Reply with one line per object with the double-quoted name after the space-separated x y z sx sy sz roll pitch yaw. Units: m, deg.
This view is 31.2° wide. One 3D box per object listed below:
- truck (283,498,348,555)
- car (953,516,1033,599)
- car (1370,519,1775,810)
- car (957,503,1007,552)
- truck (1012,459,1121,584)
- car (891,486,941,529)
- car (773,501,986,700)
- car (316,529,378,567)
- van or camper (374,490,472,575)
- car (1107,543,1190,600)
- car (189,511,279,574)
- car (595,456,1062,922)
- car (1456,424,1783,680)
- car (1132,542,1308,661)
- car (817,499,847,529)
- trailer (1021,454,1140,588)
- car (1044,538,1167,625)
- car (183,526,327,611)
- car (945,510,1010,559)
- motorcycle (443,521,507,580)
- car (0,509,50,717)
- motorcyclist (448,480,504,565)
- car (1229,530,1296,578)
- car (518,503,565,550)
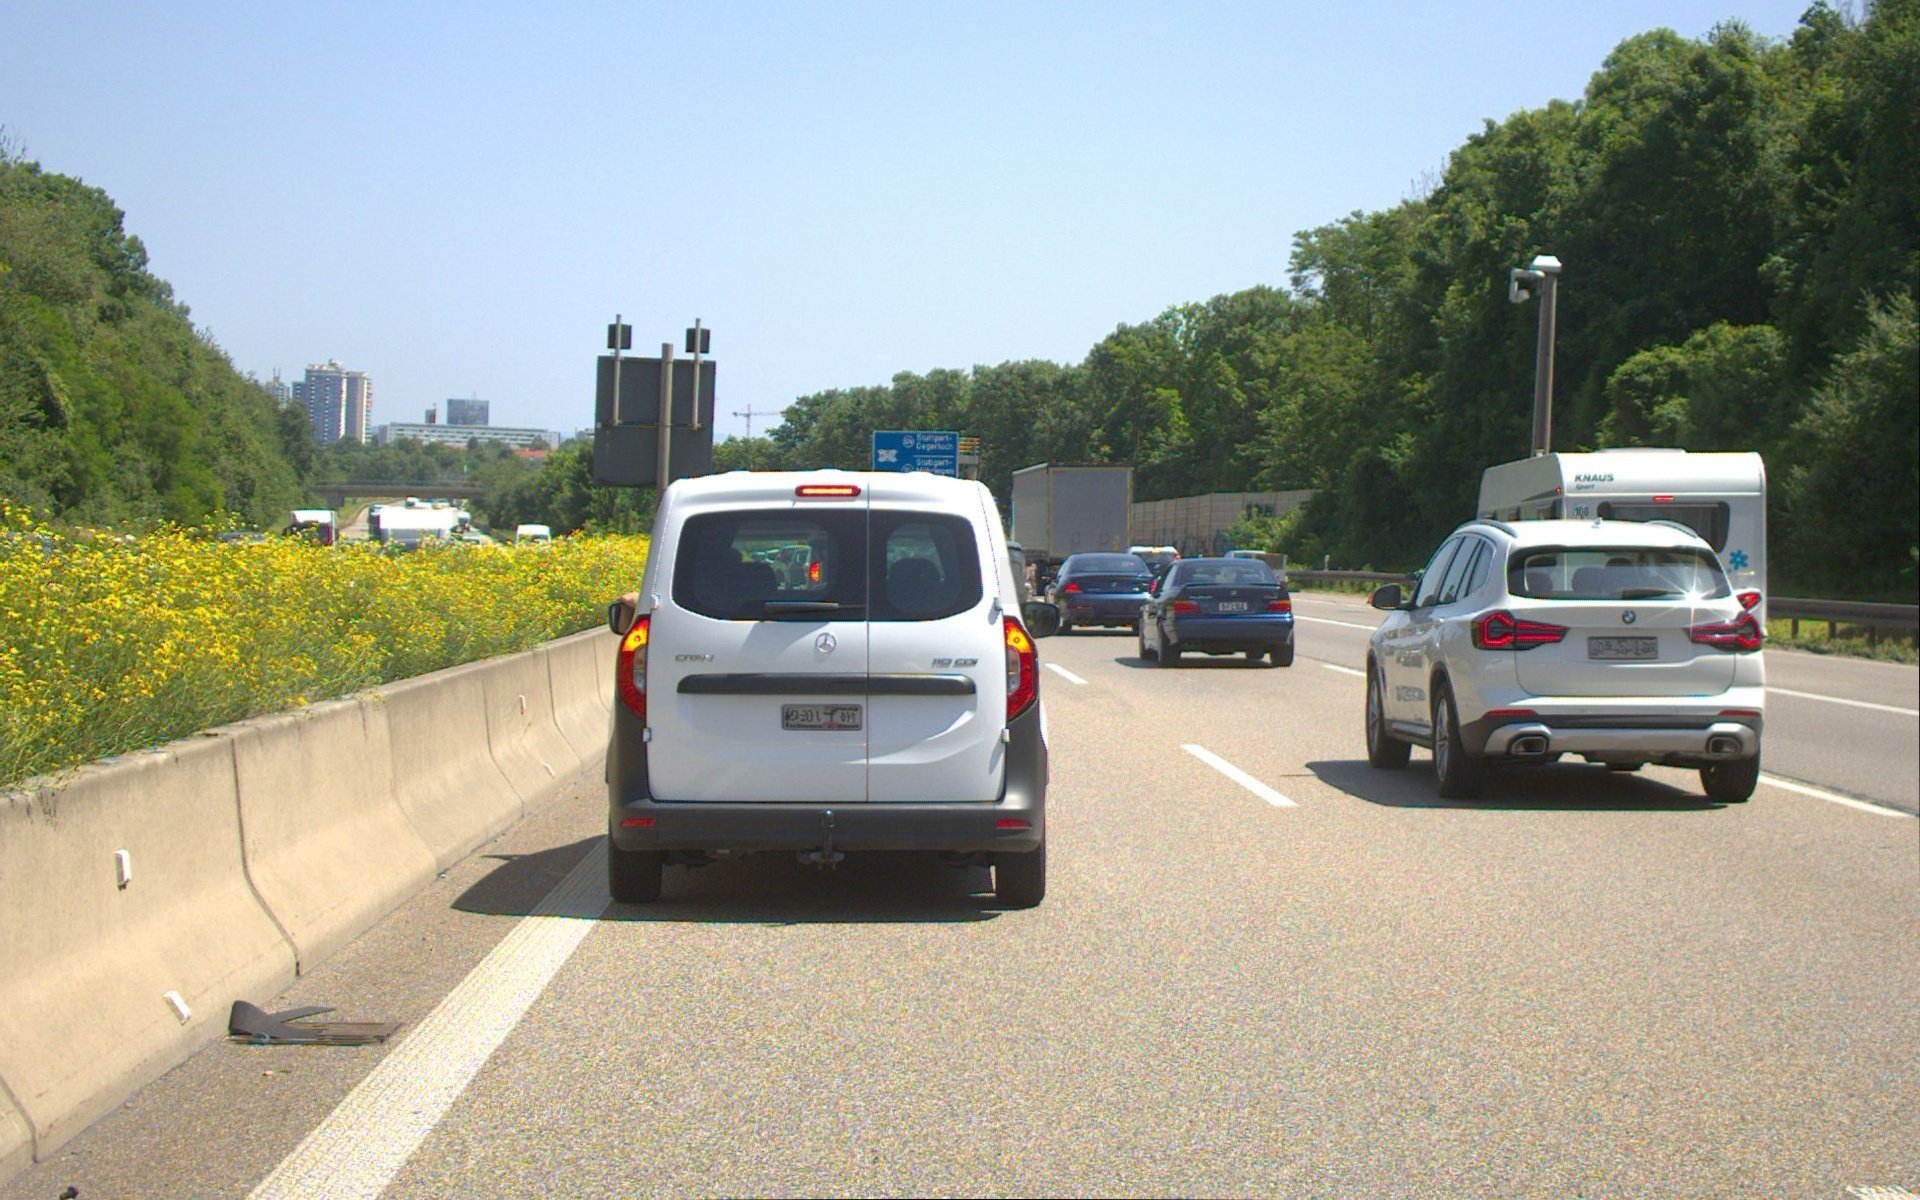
-34.795 -3.939 185.783 2.406 2.995 7.460 1 1 -3 "truck"
0.796 -1.072 84.882 1.824 1.982 4.000 1 1 -1 "car"
3.719 0.321 21.528 1.871 1.602 3.879 1 2 1 "car"
0.914 -3.032 143.988 1.993 2.007 4.000 0 1 -1 "car"
3.493 -2.615 115.015 3.081 3.972 9.647 1 1 -1 "truck"
-2.074 -4.317 160.917 1.993 2.007 4.001 0 1 -5 "car"
-0.806 -0.030 34.454 1.993 1.853 4.000 1 1 -1 "car"
-25.880 -2.217 145.182 1.993 1.569 4.000 0 1 -1 "car"
-17.223 -2.179 110.610 2.308 2.627 7.400 1 1 -2 "van or camper"
4.873 -0.767 89.284 1.824 1.419 4.000 1 1 -1 "car"
-20.064 -1.597 95.152 1.755 1.690 4.423 1 1 -3 "car"
-0.583 0.308 15.407 1.802 1.802 4.001 1 1 -2 "car"
7.611 -0.577 40.451 2.478 2.756 6.220 1 1 -1 "car"
3.257 -0.011 43.683 1.824 1.419 4.000 1 1 -1 "car"
-8.682 -5.811 233.659 1.993 2.007 4.000 1 1 -1 "car"
3.681 -2.455 107.706 3.081 3.972 10.324 1 1 -1 "trailer"
2.460 -0.334 58.898 1.824 1.419 4.000 1 1 -1 "car"
-13.058 -0.603 63.920 1.839 1.516 4.357 1 1 -1 "car"
0.515 -1.992 104.686 1.824 1.442 4.000 1 1 -1 "car"
-10.295 -1.061 73.058 1.040 1.211 2.614 1 1 -1 "motorcycle"
-7.718 0.096 23.975 1.736 1.493 4.000 1 1 -1 "car"
-10.274 -1.648 73.010 1.031 1.779 1.284 0 1 -1 "motorcyclist"
9.950 -1.533 113.272 1.788 1.514 4.000 1 1 -1 "car"
-23.033 -4.036 189.344 1.993 2.533 5.909 0 1 -1 "car"
